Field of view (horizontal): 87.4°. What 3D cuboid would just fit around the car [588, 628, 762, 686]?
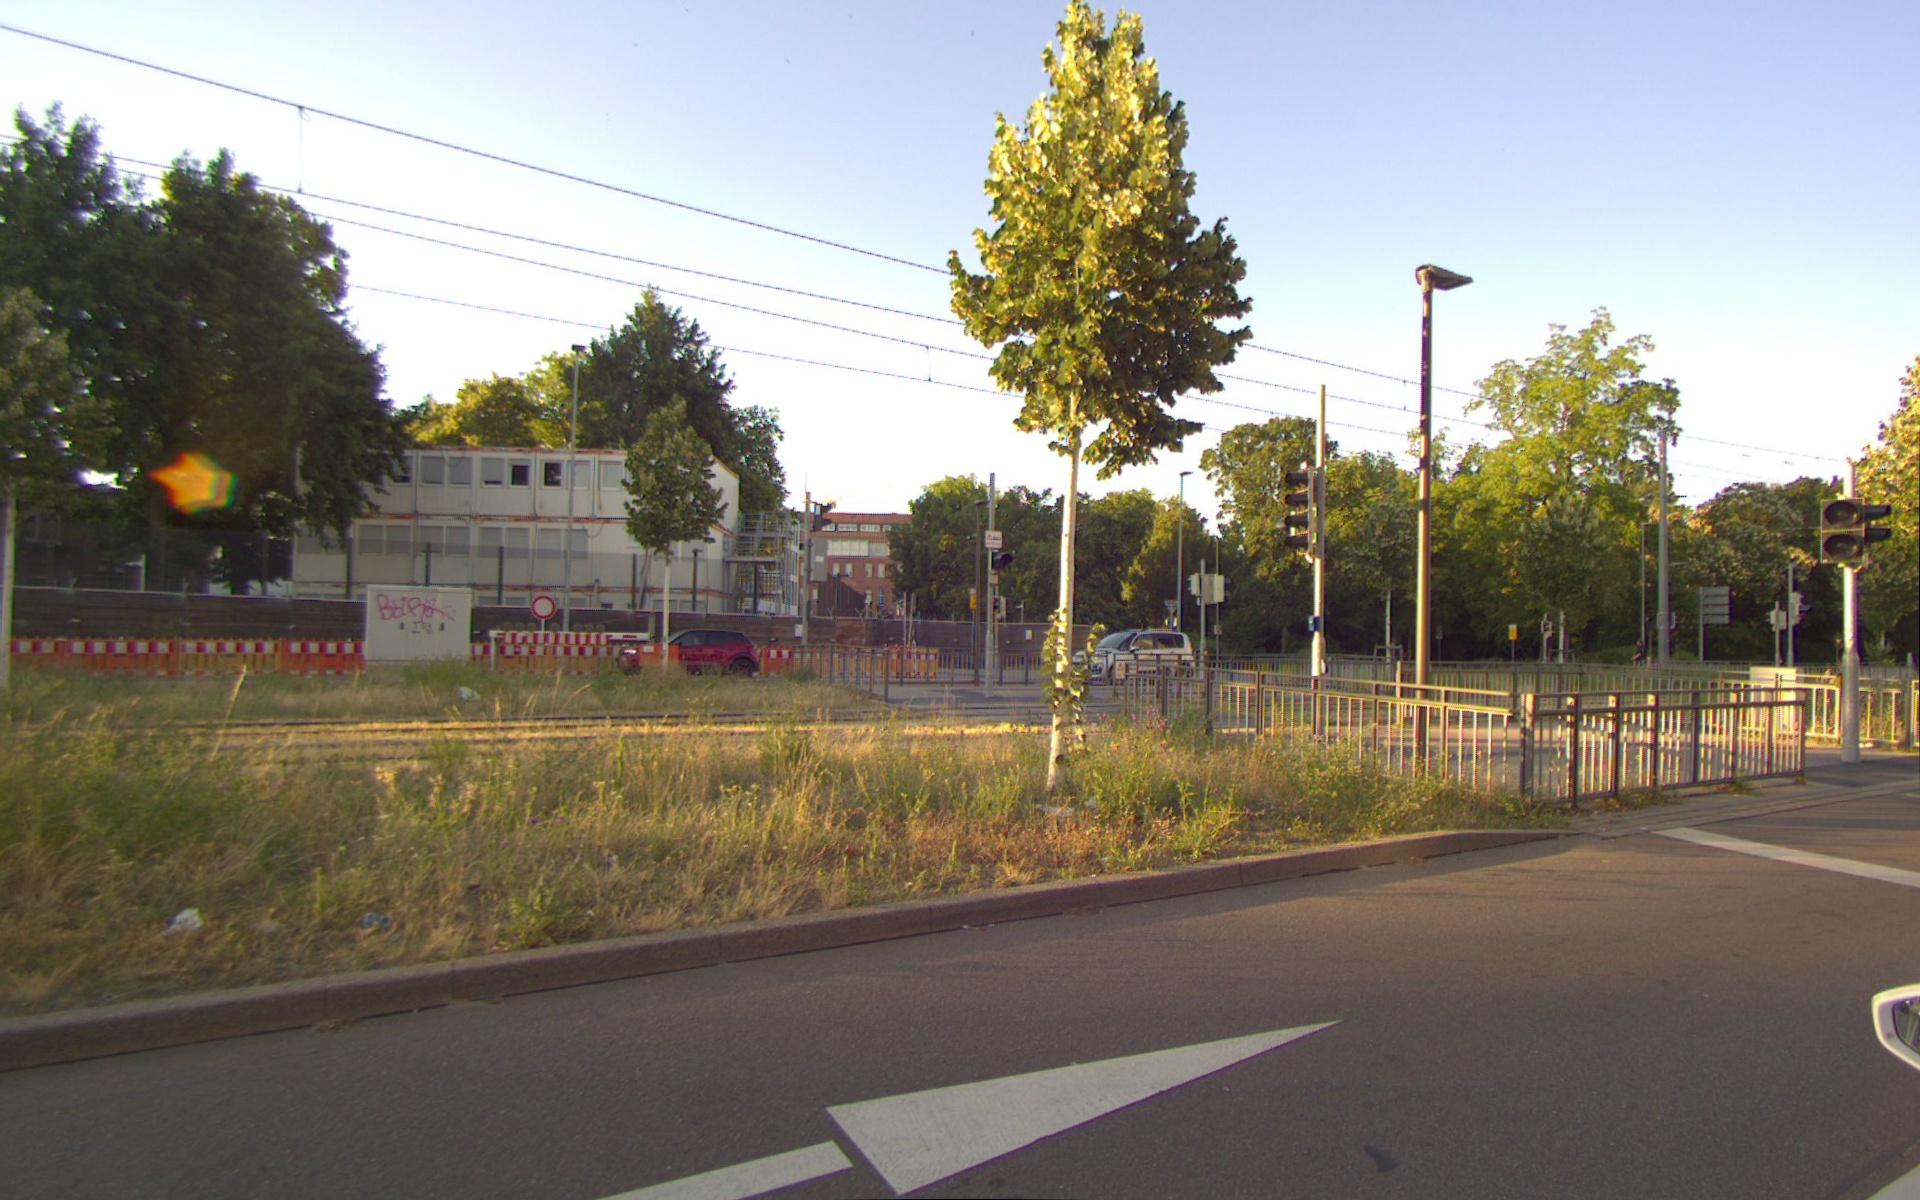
[{"bbox_3d":[-8.164,1.581,28.855,4.468,1.501,1.984,1,0,-30],"label":"car"}]

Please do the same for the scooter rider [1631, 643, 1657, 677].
[{"bbox_3d":[31.967,2.791,46.944,0.807,1.534,0.653,1,-2,0],"label":"scooter rider"}]

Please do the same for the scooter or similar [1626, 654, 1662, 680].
[{"bbox_3d":[31.938,3.117,46.914,1.307,1.168,0.514,1,-2,0],"label":"scooter or similar"}]

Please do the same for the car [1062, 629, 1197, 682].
[{"bbox_3d":[5.108,1.664,30.252,3.738,1.500,1.792,2,-2,-30],"label":"car"}]
